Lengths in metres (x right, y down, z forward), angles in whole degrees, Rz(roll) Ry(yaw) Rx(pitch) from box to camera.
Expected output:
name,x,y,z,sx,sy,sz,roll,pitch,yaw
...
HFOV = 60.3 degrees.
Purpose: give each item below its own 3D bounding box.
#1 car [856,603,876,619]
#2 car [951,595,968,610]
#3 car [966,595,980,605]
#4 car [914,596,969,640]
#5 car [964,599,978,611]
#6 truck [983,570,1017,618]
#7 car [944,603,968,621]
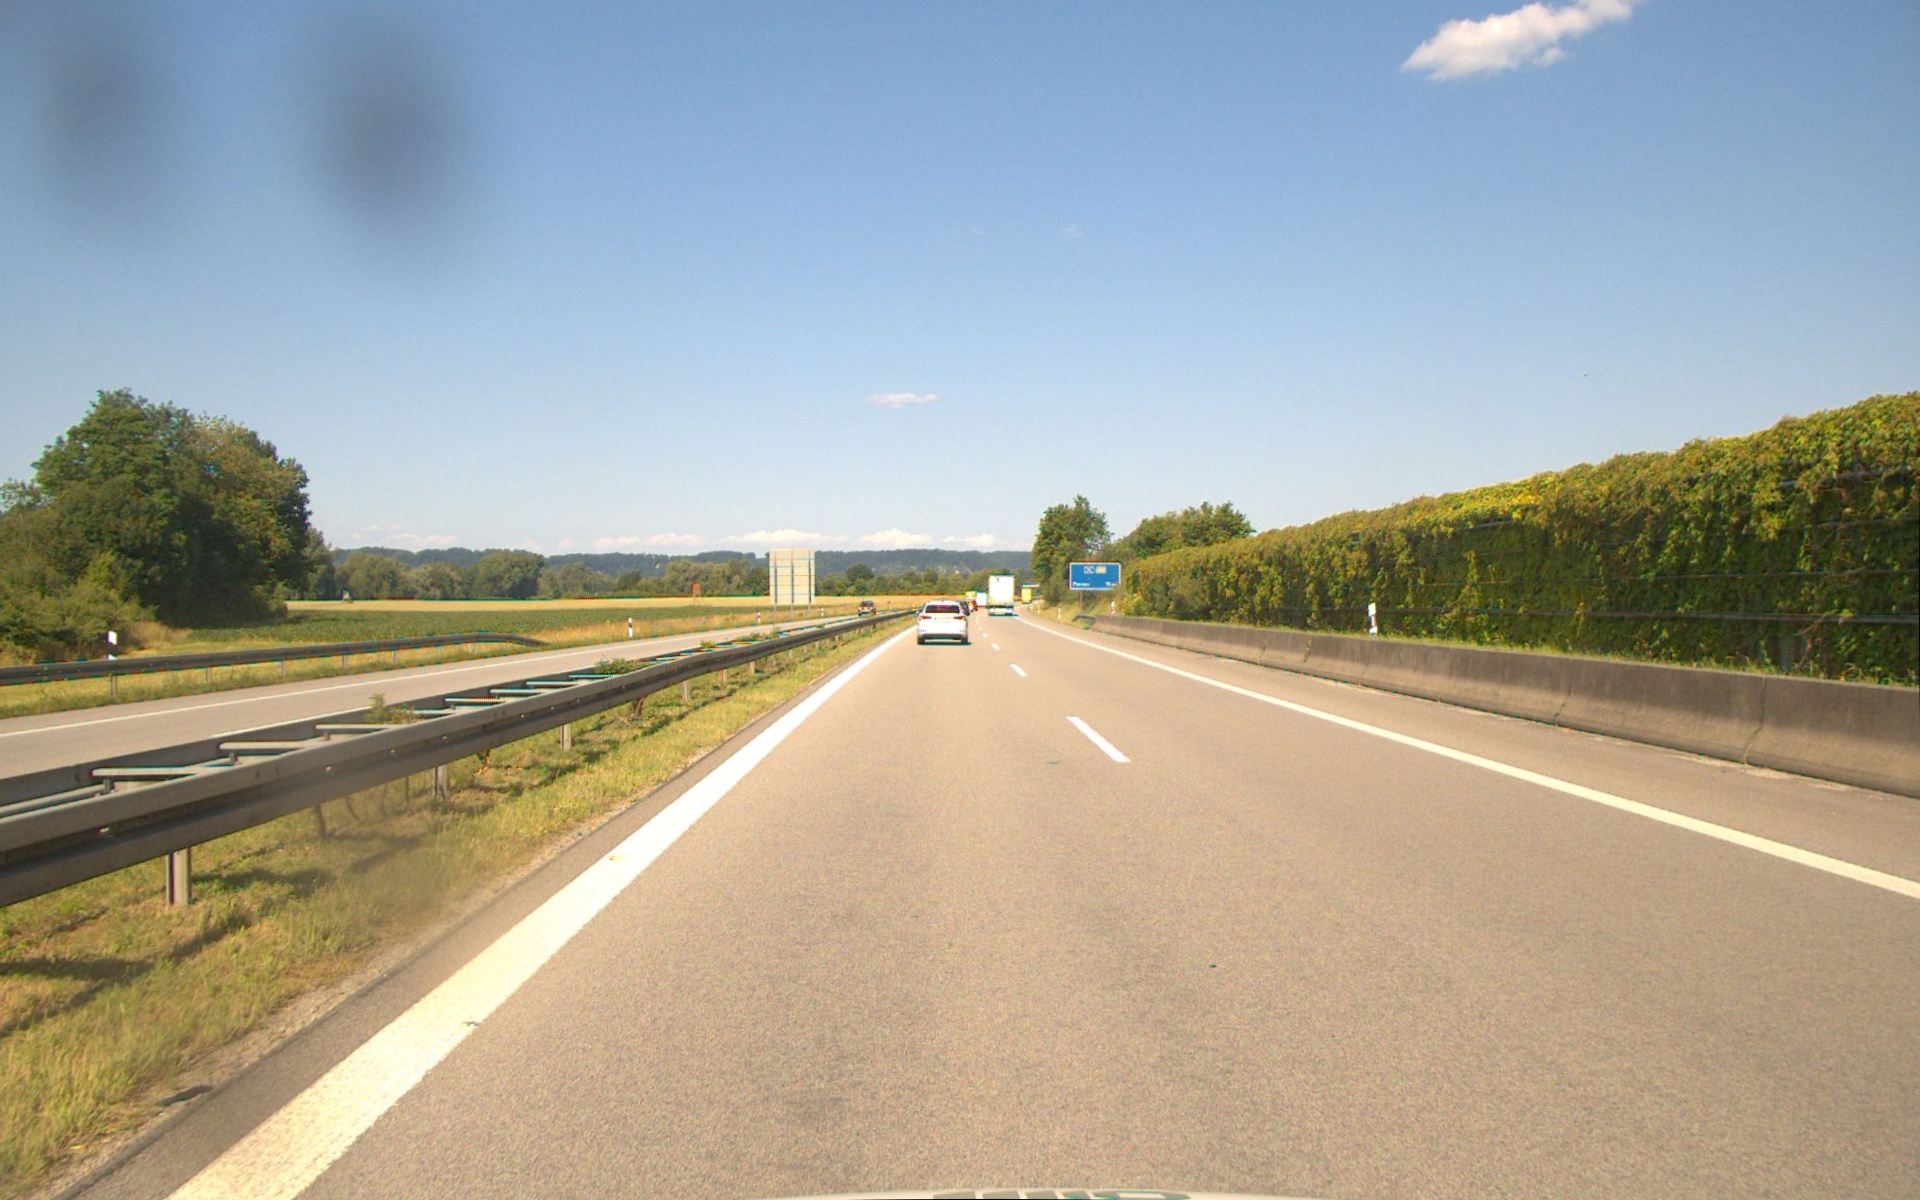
name,x,y,z,sx,sy,sz,roll,pitch,yaw
car,-10.547,1.252,185.402,1.953,1.690,4.775,-2,0,0
car,-0.014,0.257,172.874,1.735,1.446,4.364,0,0,-1
car,1.857,0.019,229.987,1.734,1.446,4.366,0,0,2
car,-0.633,0.587,57.533,1.802,1.446,5.254,1,0,-1
car,1.418,0.633,211.241,1.734,1.446,4.366,0,0,2
truck,4.031,-0.589,169.132,3.088,4.693,8.904,-1,0,0
car,-0.278,0.958,132.565,1.734,1.446,4.496,0,0,2
